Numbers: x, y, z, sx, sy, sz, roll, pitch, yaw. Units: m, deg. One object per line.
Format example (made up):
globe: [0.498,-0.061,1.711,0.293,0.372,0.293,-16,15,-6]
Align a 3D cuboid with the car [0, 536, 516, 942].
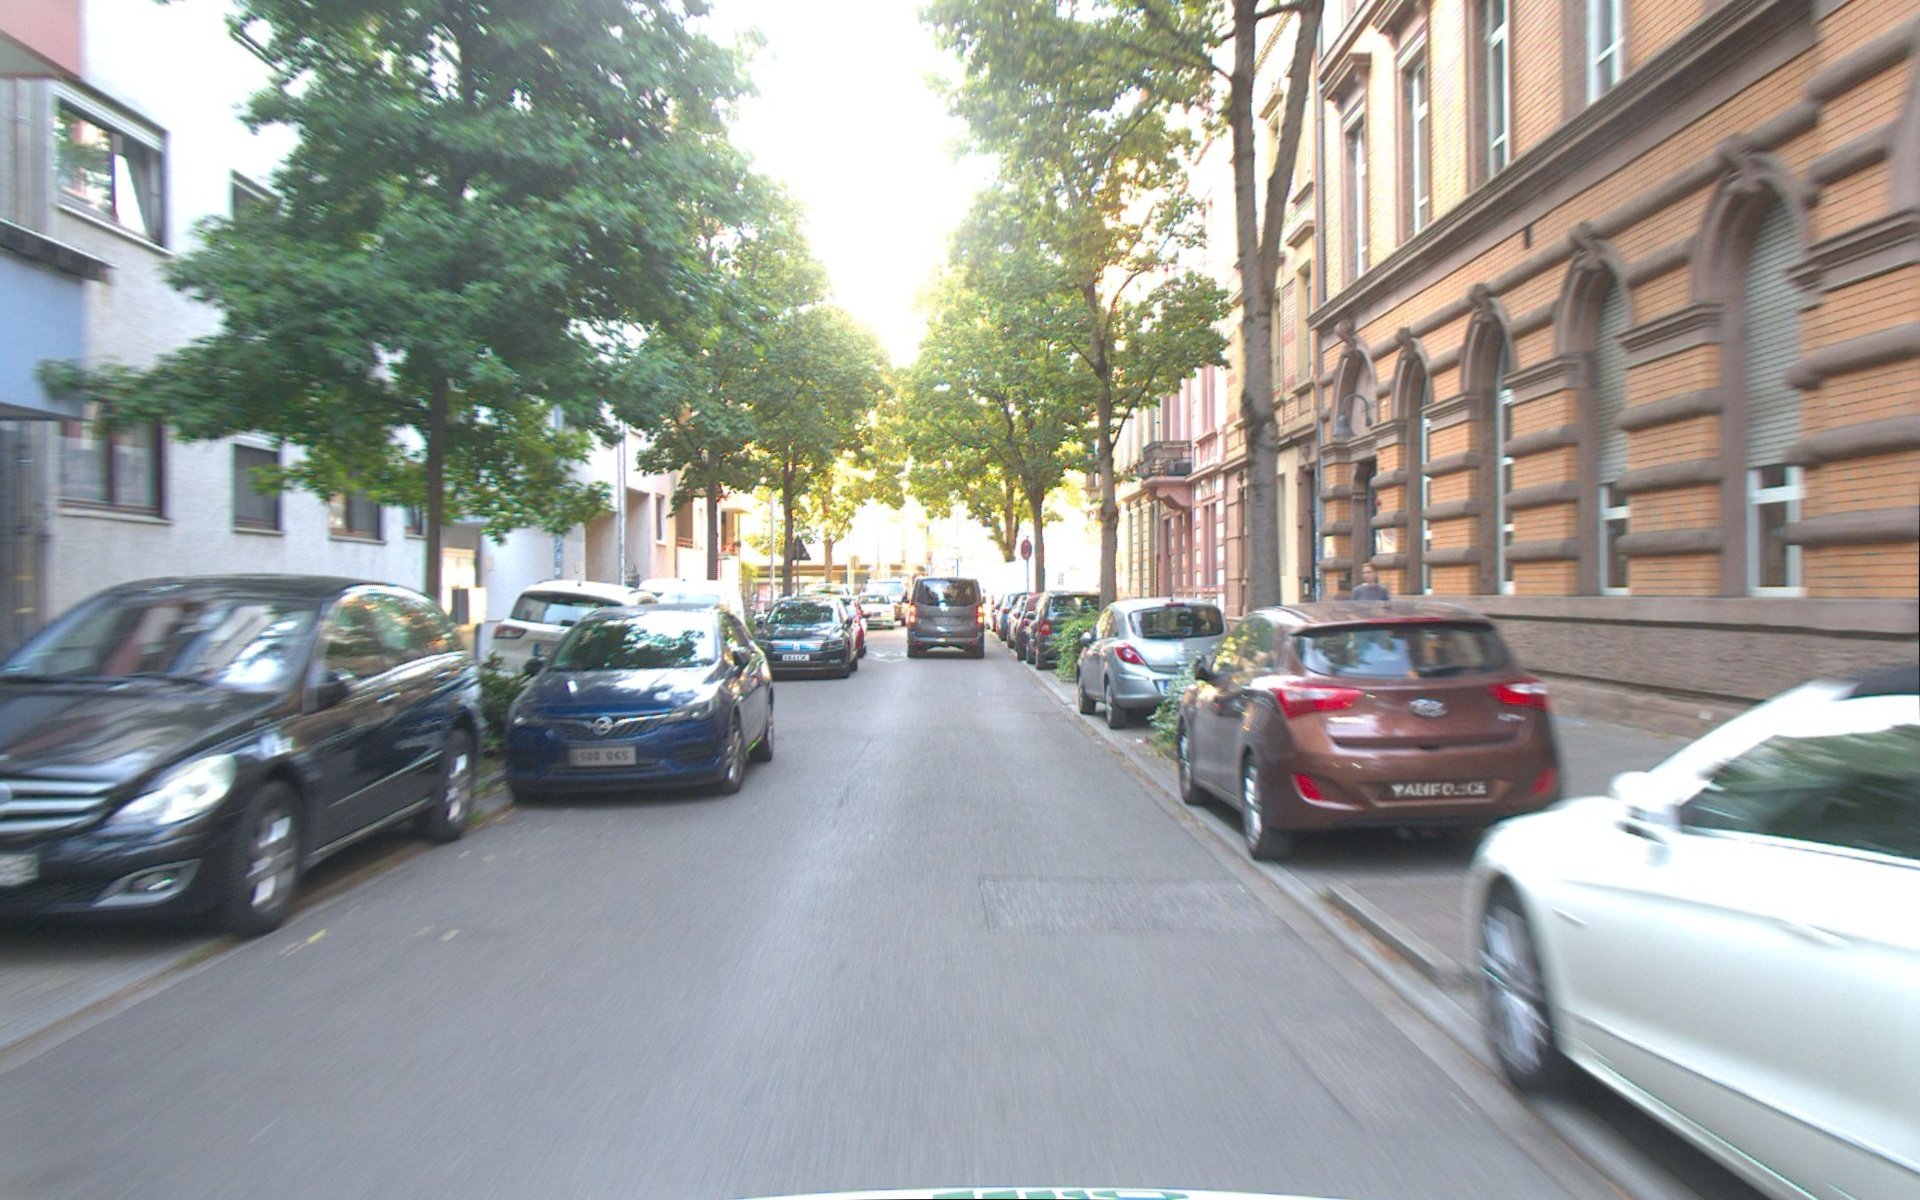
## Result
car: [-4.155,0.557,9.389,1.953,1.675,4.921,2,0,-1]

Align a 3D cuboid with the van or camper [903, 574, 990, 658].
van or camper: [-0.270,0.374,40.512,1.993,1.930,4.271,1,0,1]

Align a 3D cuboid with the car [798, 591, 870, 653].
car: [-3.083,0.510,40.839,1.597,1.455,3.541,0,0,-2]

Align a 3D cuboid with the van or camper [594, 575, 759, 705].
van or camper: [-4.405,0.562,26.367,1.892,1.790,4.464,3,0,-2]

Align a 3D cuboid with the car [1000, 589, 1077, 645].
car: [2.074,0.436,44.487,1.681,1.428,3.811,0,0,-3]

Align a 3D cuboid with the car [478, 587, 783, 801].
car: [-2.615,0.686,14.185,1.793,1.544,4.515,0,0,-1]

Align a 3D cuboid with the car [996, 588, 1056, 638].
car: [2.023,0.380,51.897,1.714,1.497,3.775,1,0,0]

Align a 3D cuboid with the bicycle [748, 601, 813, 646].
bicycle: [-5.048,0.676,46.631,0.595,1.216,1.816,3,1,44]

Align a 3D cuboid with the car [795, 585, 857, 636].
car: [-4.663,0.347,58.109,1.858,1.665,4.155,2,0,-1]

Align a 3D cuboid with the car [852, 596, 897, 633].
car: [-3.425,0.565,66.680,1.706,1.429,3.374,0,0,-1]

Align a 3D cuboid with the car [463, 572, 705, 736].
car: [-4.525,0.579,20.673,1.993,1.701,4.647,3,0,-2]

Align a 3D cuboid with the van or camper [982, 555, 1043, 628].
van or camper: [1.953,-0.311,62.878,1.953,2.644,5.422,1,0,-2]

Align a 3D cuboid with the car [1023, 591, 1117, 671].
car: [2.263,0.605,34.873,1.579,1.586,3.764,-1,0,-2]

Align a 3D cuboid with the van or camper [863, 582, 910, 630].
van or camper: [-3.157,0.247,71.787,1.824,2.018,4.271,0,0,1]

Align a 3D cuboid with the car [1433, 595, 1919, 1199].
car: [2.579,0.718,3.629,1.659,1.426,4.645,-1,0,-1]

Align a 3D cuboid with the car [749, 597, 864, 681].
car: [-2.889,0.702,32.008,1.809,1.477,4.502,1,0,0]

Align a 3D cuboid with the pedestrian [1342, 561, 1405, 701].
pedestrian: [5.037,0.367,20.181,0.614,1.677,0.532,1,0,0]

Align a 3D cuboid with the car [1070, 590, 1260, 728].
car: [2.460,0.657,20.737,1.663,1.508,3.998,-2,0,-3]

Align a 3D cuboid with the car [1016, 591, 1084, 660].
car: [2.104,0.575,39.169,1.518,1.523,3.611,1,0,2]

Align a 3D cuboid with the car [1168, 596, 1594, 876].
car: [2.520,0.736,10.964,1.687,1.475,4.214,-1,0,-1]

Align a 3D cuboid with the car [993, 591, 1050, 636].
car: [2.100,0.444,57.154,1.715,1.497,3.775,-1,0,-1]
